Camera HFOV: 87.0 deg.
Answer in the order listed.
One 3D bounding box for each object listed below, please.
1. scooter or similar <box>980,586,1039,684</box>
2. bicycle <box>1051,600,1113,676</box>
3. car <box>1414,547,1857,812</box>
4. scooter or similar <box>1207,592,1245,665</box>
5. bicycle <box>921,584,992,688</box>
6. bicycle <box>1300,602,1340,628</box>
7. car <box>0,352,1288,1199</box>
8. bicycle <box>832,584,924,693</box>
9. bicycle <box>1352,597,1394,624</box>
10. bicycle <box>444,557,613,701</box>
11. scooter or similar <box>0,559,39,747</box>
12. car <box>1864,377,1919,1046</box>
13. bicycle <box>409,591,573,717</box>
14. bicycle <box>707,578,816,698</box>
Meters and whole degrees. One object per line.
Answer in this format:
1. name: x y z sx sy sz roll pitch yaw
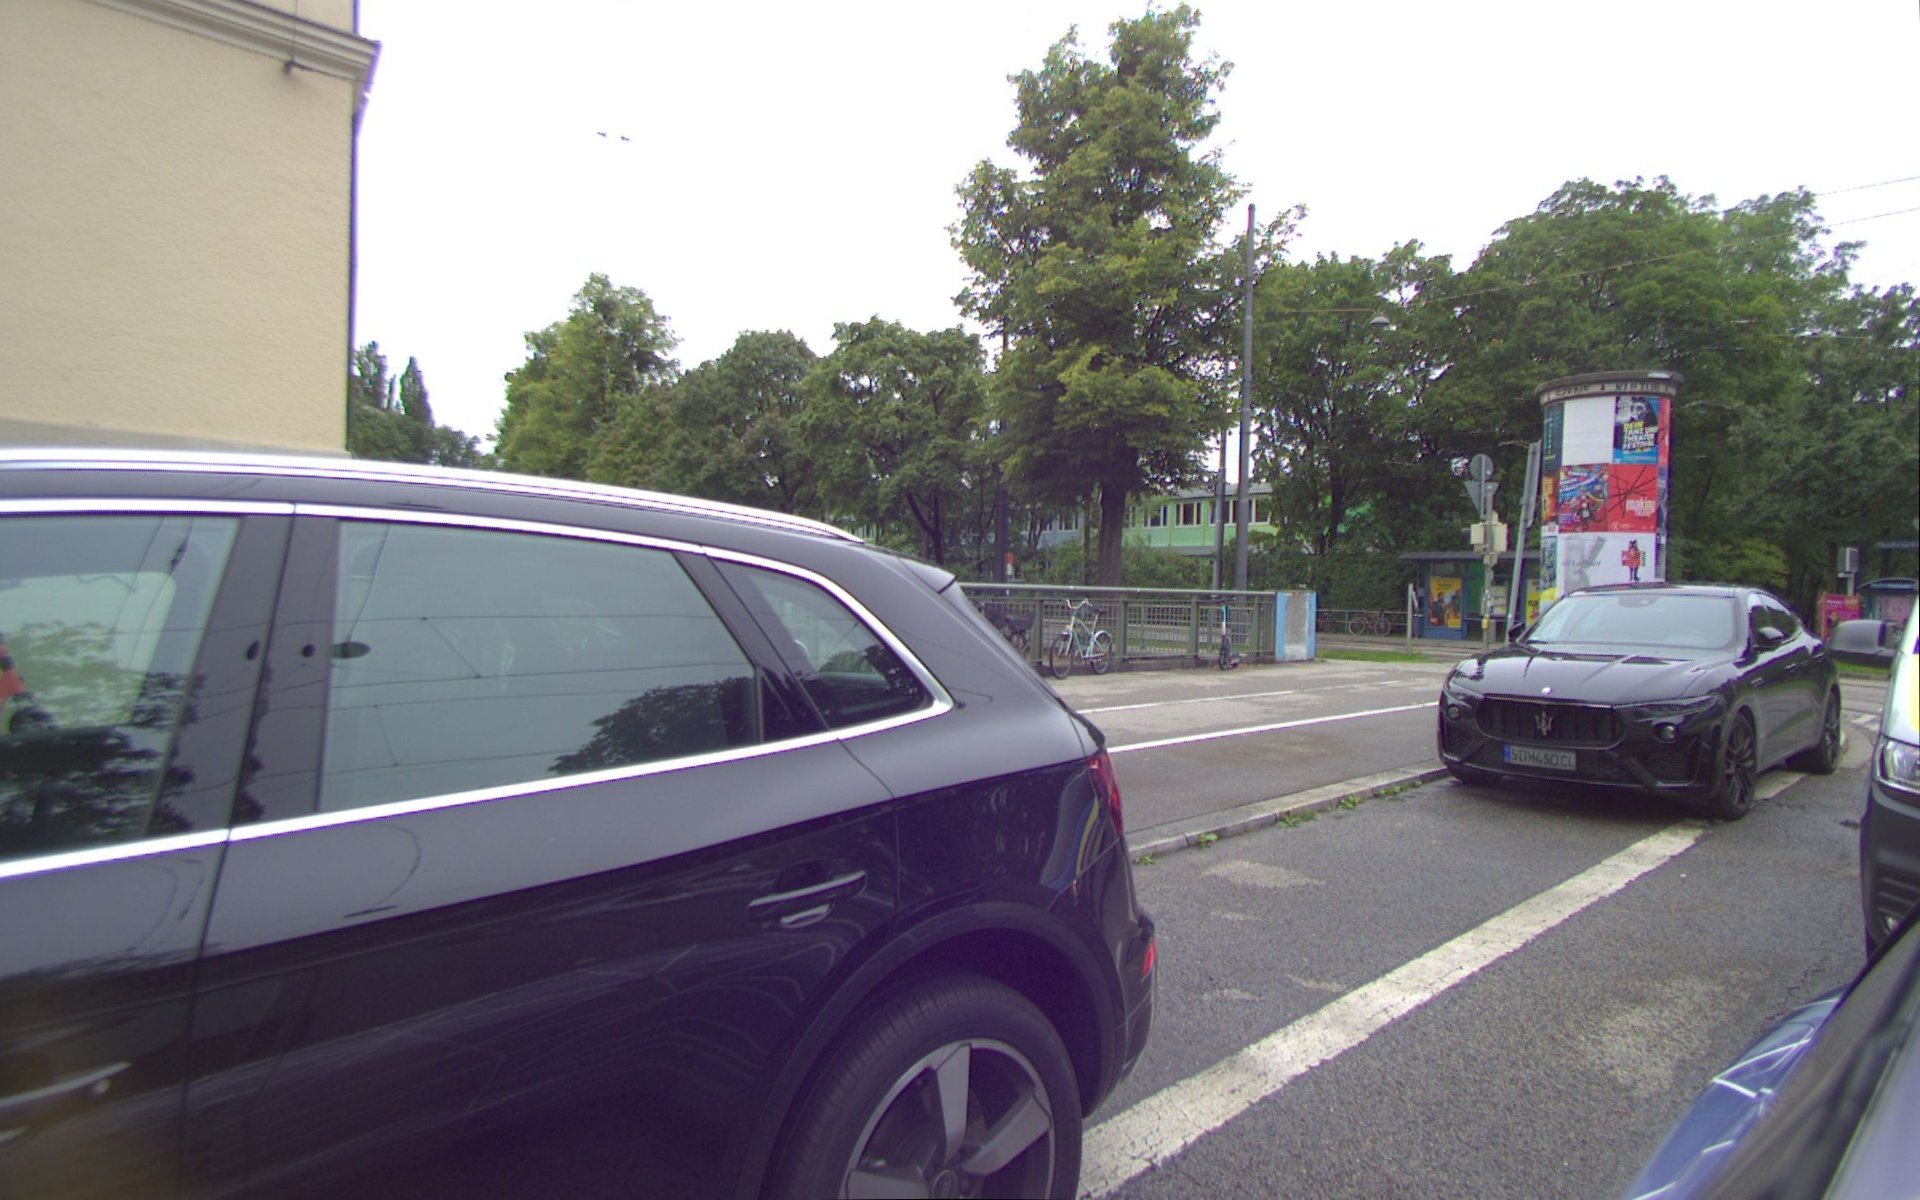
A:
1. scooter or similar: 0.704 0.458 14.005 0.242 1.279 1.482 -1 0 27
2. bicycle: 1.848 0.545 15.238 0.263 1.096 1.524 -1 -1 34
3. car: 5.803 0.517 8.455 4.582 1.630 1.904 1 -1 -40
4. scooter or similar: 4.596 0.484 17.491 0.224 1.227 1.006 -1 -1 40
5. bicycle: -0.024 0.450 13.358 0.280 1.298 1.395 -1 -1 29
6. bicycle: 14.139 0.587 39.780 0.366 0.964 1.483 0 1 -38
7. car: -1.443 0.593 1.729 4.408 1.679 1.778 0 0 -40
8. bicycle: -1.008 0.456 12.675 0.281 1.298 1.391 -1 -1 38
9. bicycle: 15.497 0.384 38.021 0.366 0.964 1.483 0 1 -38
10. bicycle: -4.224 0.271 9.975 1.511 1.329 0.332 0 -1 -42
11. scooter or similar: -7.144 0.374 6.994 0.261 1.329 1.125 -1 -1 42
12. car: 5.604 0.369 4.424 5.612 2.078 1.901 0 1 -43
13. bicycle: -4.445 0.479 9.669 0.286 1.120 1.421 1 0 42
14. bicycle: -2.256 0.414 11.634 0.281 1.298 1.391 -1 -1 38
